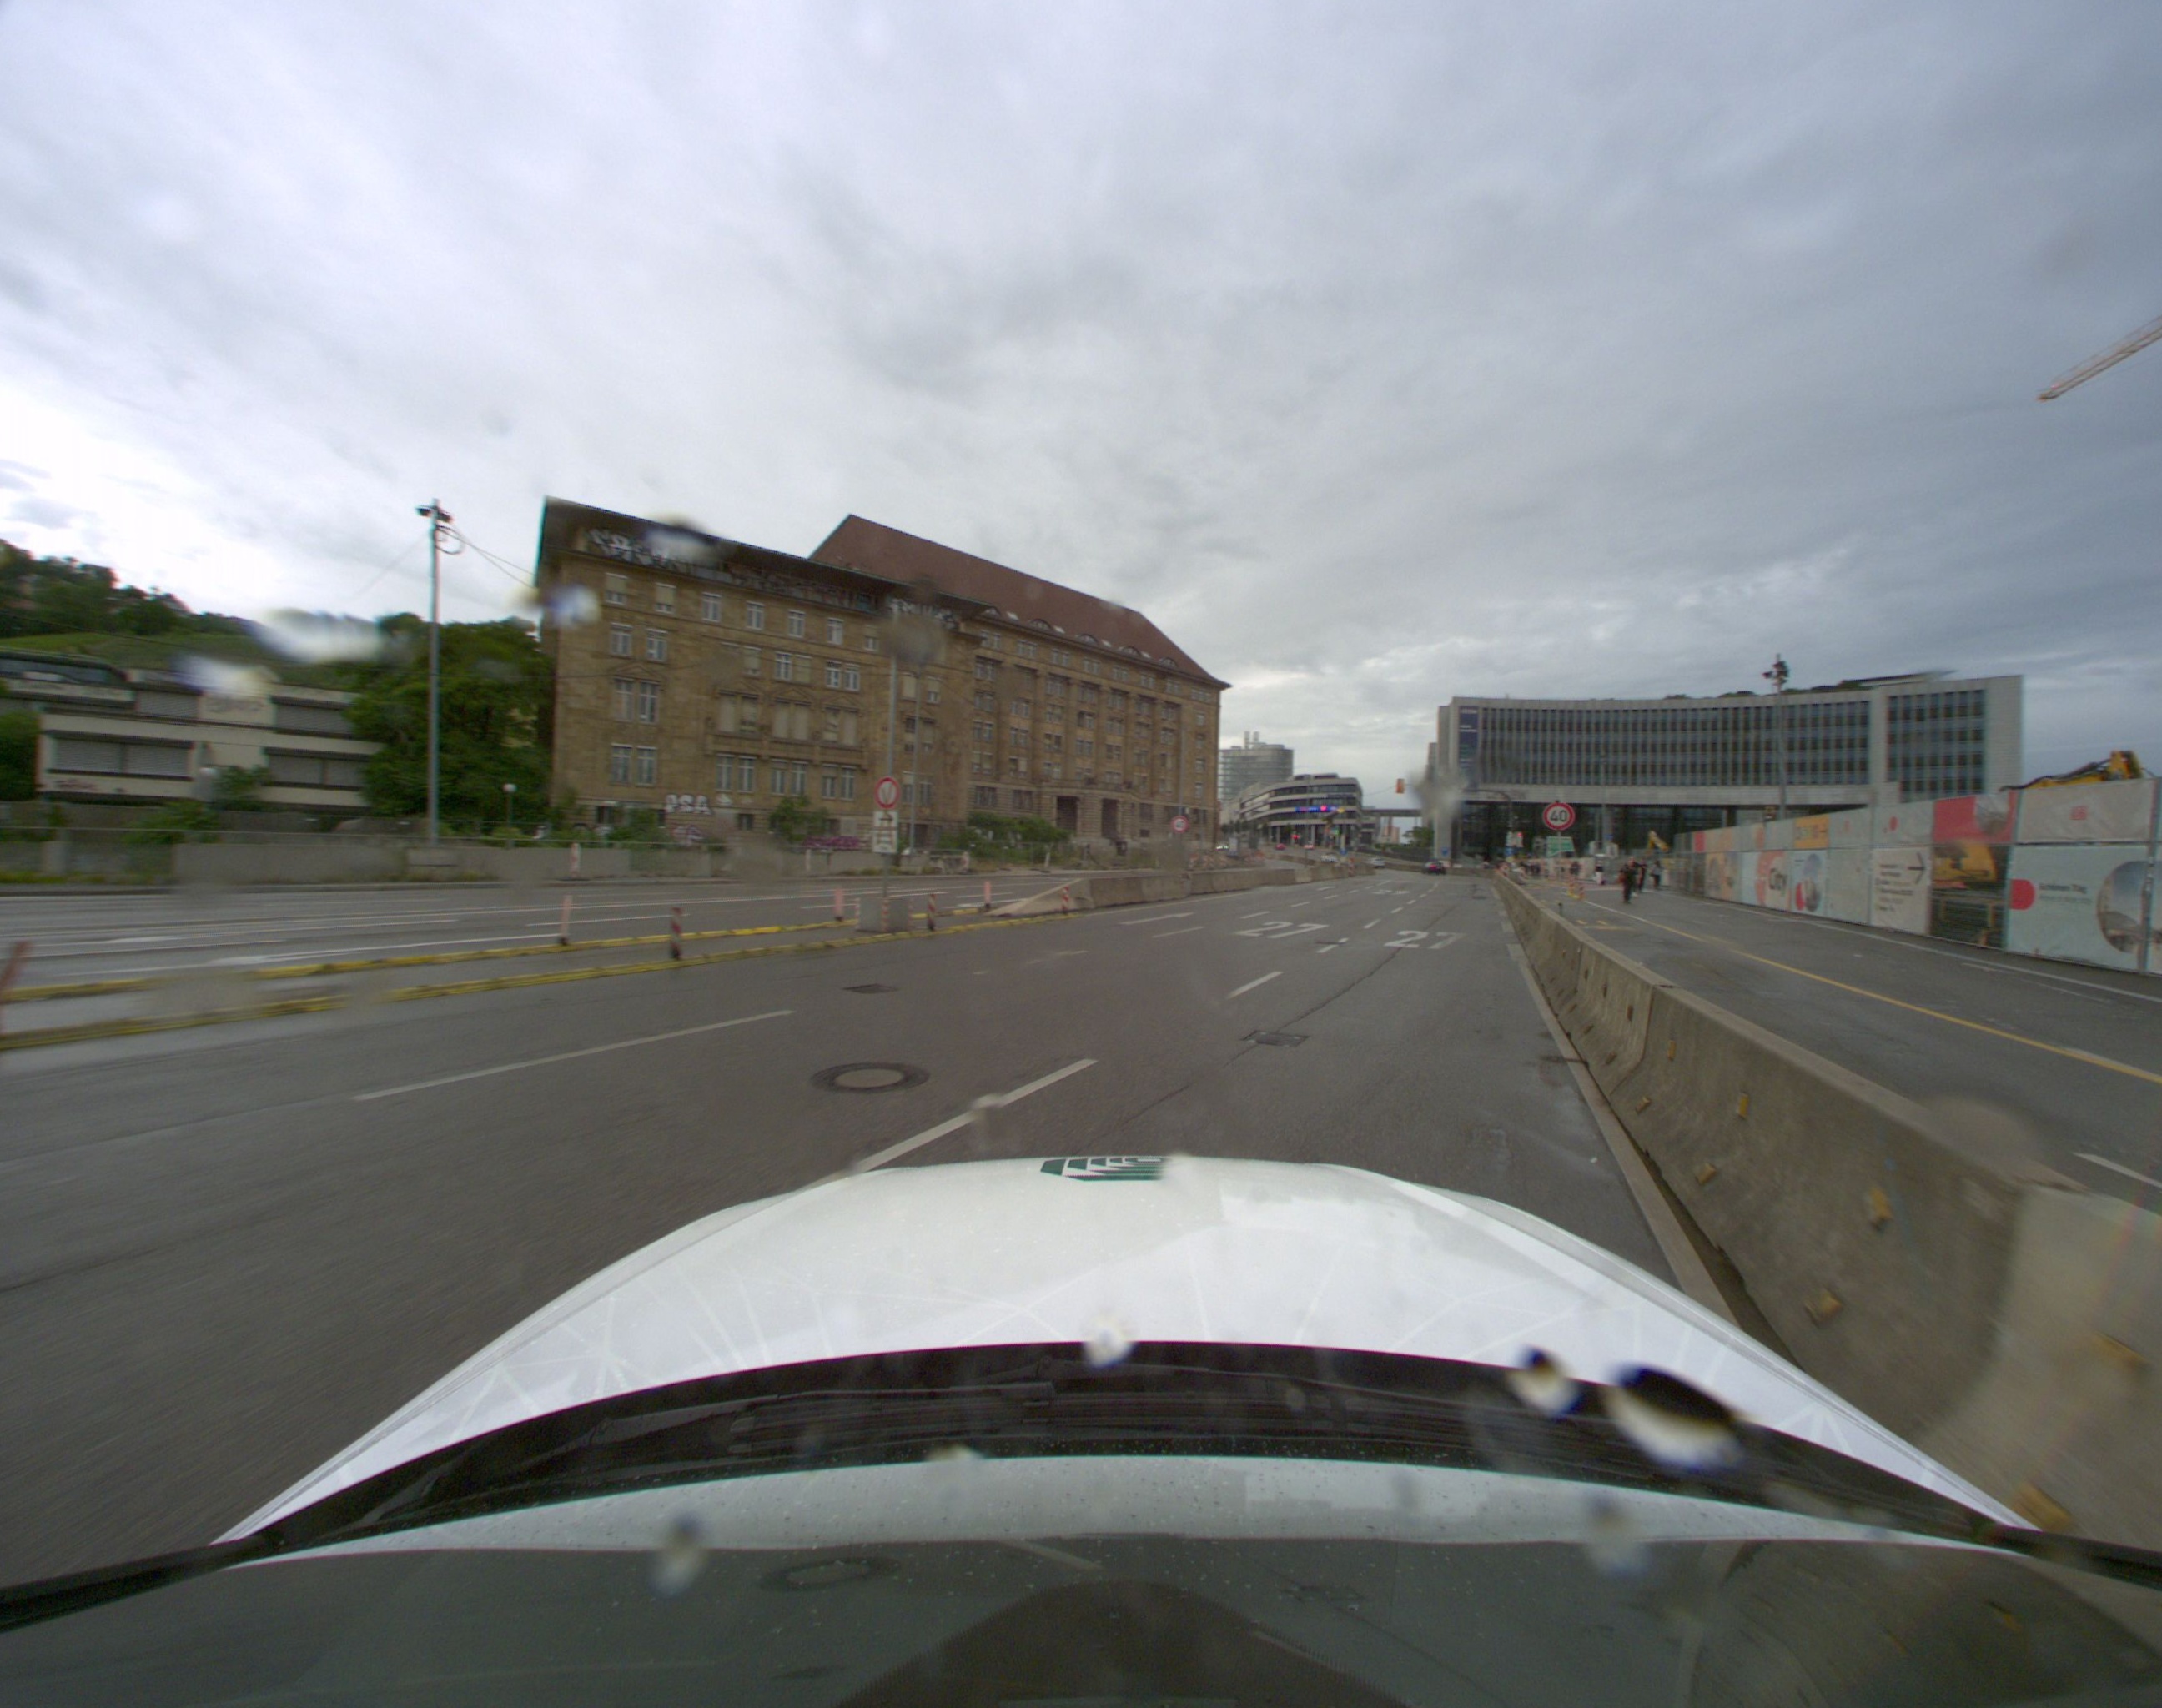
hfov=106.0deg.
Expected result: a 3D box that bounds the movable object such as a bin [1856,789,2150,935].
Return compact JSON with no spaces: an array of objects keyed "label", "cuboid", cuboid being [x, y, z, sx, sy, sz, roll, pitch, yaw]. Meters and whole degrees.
[{"label":"movable object such as a bin","cuboid":[24.657,0.181,22.232,3.893,3.492,4.380,0,0,25]}]

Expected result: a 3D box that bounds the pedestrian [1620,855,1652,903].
[{"label":"pedestrian","cuboid":[21.557,0.952,31.624,0.916,1.834,0.690,1,0,27]}]

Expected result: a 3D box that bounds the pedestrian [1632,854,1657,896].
[{"label":"pedestrian","cuboid":[25.485,0.936,36.836,0.789,1.877,0.825,1,0,27]}]

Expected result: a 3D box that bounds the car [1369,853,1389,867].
[{"label":"car","cuboid":[41.556,0.868,113.513,1.730,1.875,3.784,1,0,6]}]

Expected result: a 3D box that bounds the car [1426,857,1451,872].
[{"label":"car","cuboid":[38.223,1.165,87.112,1.663,1.508,3.757,2,-2,12]}]

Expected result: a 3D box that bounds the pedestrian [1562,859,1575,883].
[{"label":"pedestrian","cuboid":[39.463,1.371,65.921,0.772,1.862,0.954,1,0,22]}]

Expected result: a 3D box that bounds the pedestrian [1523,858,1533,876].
[{"label":"pedestrian","cuboid":[44.298,1.282,80.709,0.812,1.827,1.117,0,-1,23]}]

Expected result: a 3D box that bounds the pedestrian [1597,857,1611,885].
[{"label":"pedestrian","cuboid":[35.444,1.141,55.171,0.659,1.862,0.686,1,0,22]}]

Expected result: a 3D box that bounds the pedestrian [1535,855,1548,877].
[{"label":"pedestrian","cuboid":[41.307,1.065,73.121,0.862,1.862,0.954,1,0,22]}]

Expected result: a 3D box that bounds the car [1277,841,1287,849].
[{"label":"car","cuboid":[47.496,-2.117,192.558,1.980,1.804,4.279,1,1,12]}]

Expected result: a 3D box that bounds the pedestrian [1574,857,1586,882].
[{"label":"pedestrian","cuboid":[38.400,1.172,62.680,0.684,1.862,0.816,1,0,22]}]

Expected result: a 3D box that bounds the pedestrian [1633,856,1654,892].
[{"label":"pedestrian","cuboid":[29.095,1.032,42.114,0.789,1.834,0.630,1,0,27]}]

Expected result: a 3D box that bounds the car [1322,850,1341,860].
[{"label":"car","cuboid":[38.492,0.124,125.384,1.735,1.506,3.754,2,0,0]}]

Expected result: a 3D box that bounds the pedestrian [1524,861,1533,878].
[{"label":"pedestrian","cuboid":[51.749,1.796,94.117,0.777,2.013,0.868,2,1,32]}]

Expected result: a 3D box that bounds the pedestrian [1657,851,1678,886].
[{"label":"pedestrian","cuboid":[31.720,0.772,44.057,0.780,1.862,0.686,1,0,22]}]

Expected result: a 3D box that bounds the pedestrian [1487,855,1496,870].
[{"label":"pedestrian","cuboid":[46.464,0.997,92.239,0.745,1.642,0.826,1,0,13]}]

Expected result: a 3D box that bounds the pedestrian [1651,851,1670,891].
[{"label":"pedestrian","cuboid":[29.881,0.860,42.012,0.673,2.013,0.691,1,1,27]}]

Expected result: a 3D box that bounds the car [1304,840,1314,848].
[{"label":"car","cuboid":[54.414,-2.399,194.177,1.980,1.804,4.279,1,1,12]}]

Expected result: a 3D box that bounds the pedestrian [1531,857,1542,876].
[{"label":"pedestrian","cuboid":[45.457,1.250,81.259,0.772,1.862,0.816,1,0,22]}]
